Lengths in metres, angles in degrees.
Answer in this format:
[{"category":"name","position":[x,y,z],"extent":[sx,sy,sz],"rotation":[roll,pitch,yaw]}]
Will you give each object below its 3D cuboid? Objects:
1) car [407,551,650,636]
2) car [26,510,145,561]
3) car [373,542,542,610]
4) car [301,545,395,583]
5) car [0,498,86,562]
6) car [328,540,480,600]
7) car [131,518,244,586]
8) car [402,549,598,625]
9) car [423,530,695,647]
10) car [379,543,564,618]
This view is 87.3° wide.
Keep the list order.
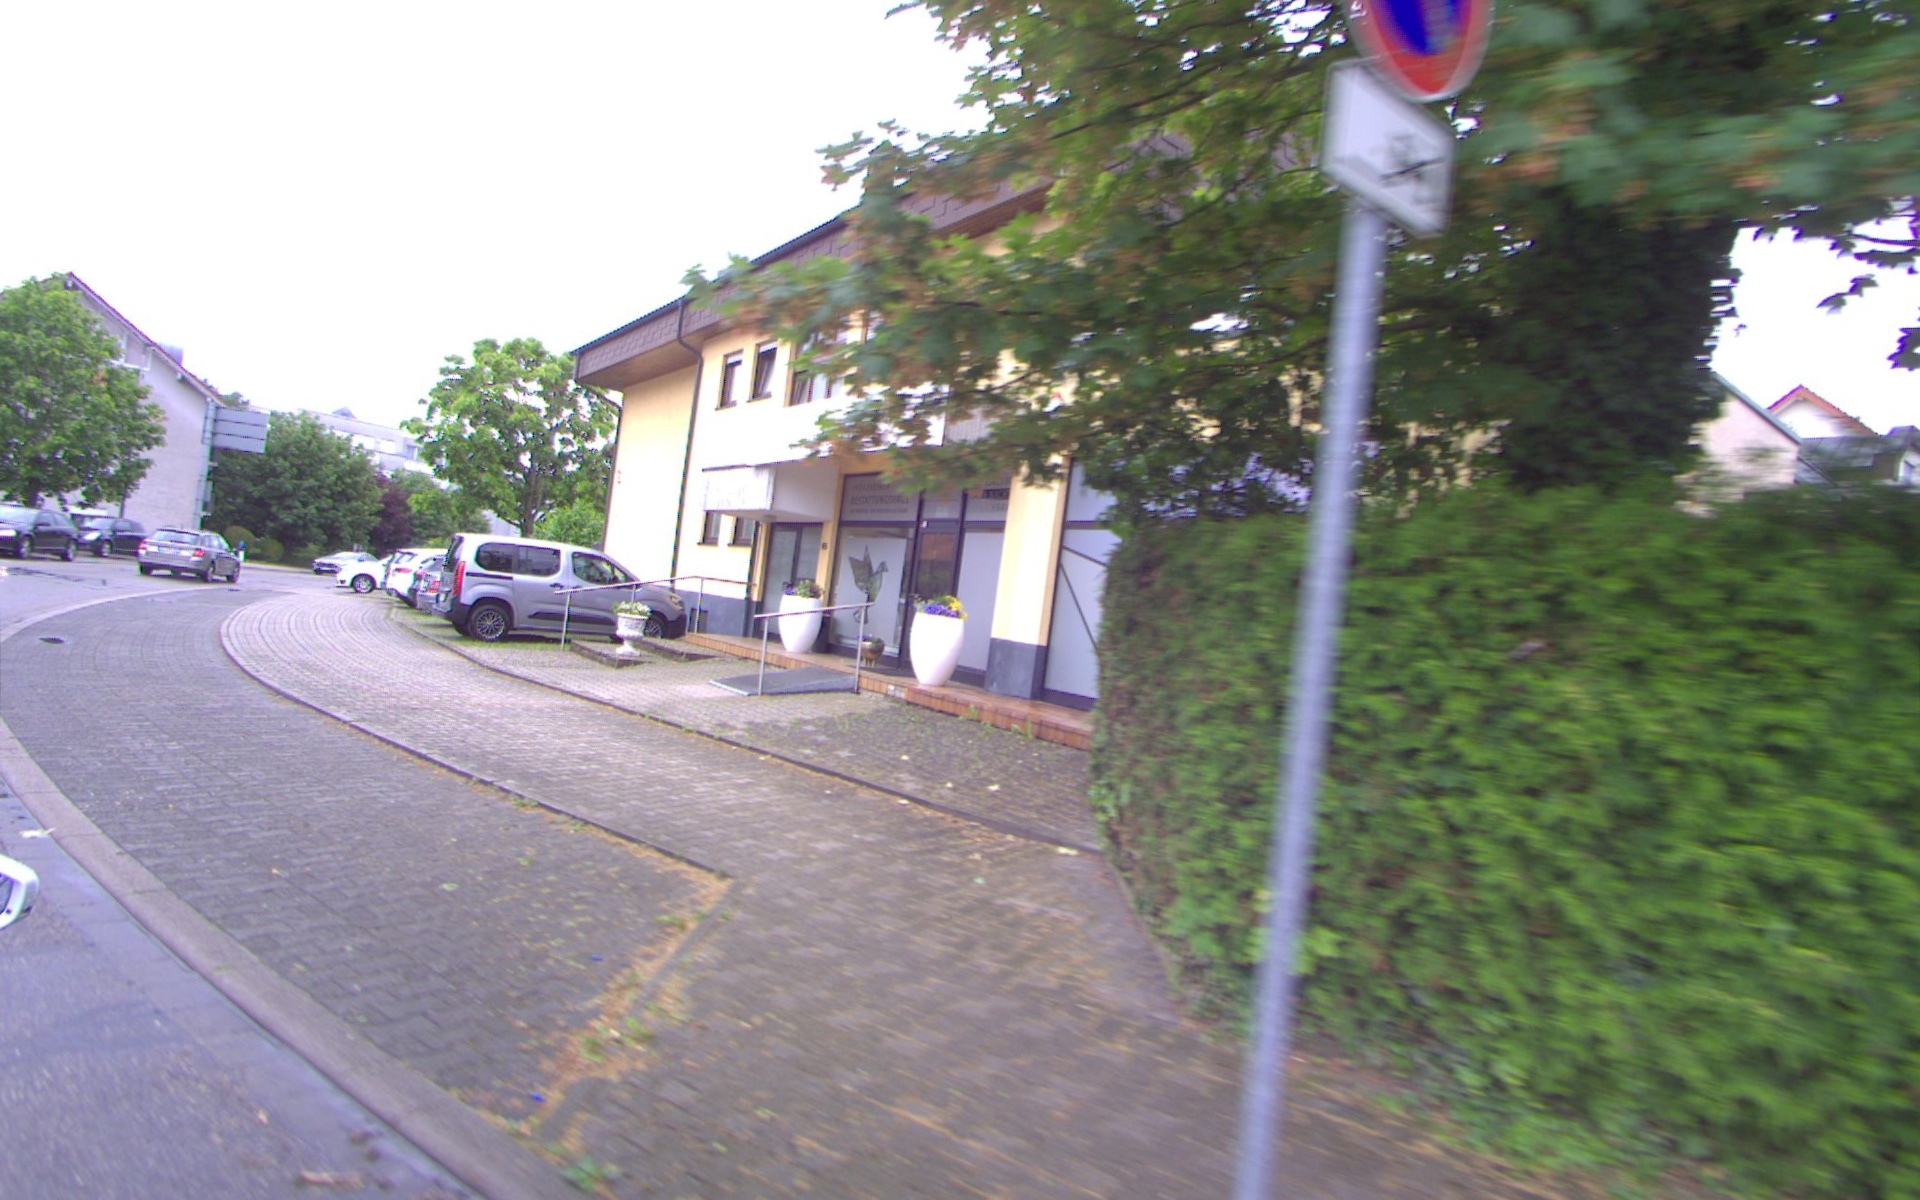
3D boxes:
[{"category":"car","position":[-8.899,-0.102,20.928],"extent":[4.335,1.442,1.678],"rotation":[4,1,-38]},{"category":"car","position":[-31.217,-2.259,36.046],"extent":[1.567,1.439,3.686],"rotation":[7,-1,-13]},{"category":"car","position":[-14.361,-0.661,28.826],"extent":[4.018,1.617,1.886],"rotation":[4,1,-36]},{"category":"car","position":[-32.671,-1.900,53.868],"extent":[1.872,1.407,4.493],"rotation":[9,-1,5]},{"category":"car","position":[-26.369,-1.983,27.950],"extent":[1.842,1.536,4.269],"rotation":[7,-2,-24]},{"category":"car","position":[-18.574,-0.981,33.759],"extent":[4.302,1.617,1.753],"rotation":[4,1,-30]},{"category":"car","position":[-22.959,-1.359,30.067],"extent":[1.750,1.526,3.979],"rotation":[9,-4,-26]},{"category":"car","position":[-11.053,-0.291,24.243],"extent":[4.015,1.509,1.888],"rotation":[4,1,-34]},{"category":"car","position":[-7.340,-0.168,18.593],"extent":[4.269,1.804,1.885],"rotation":[4,1,-38]},{"category":"car","position":[-12.765,-0.494,26.387],"extent":[4.020,1.617,1.876],"rotation":[4,1,-38]}]
